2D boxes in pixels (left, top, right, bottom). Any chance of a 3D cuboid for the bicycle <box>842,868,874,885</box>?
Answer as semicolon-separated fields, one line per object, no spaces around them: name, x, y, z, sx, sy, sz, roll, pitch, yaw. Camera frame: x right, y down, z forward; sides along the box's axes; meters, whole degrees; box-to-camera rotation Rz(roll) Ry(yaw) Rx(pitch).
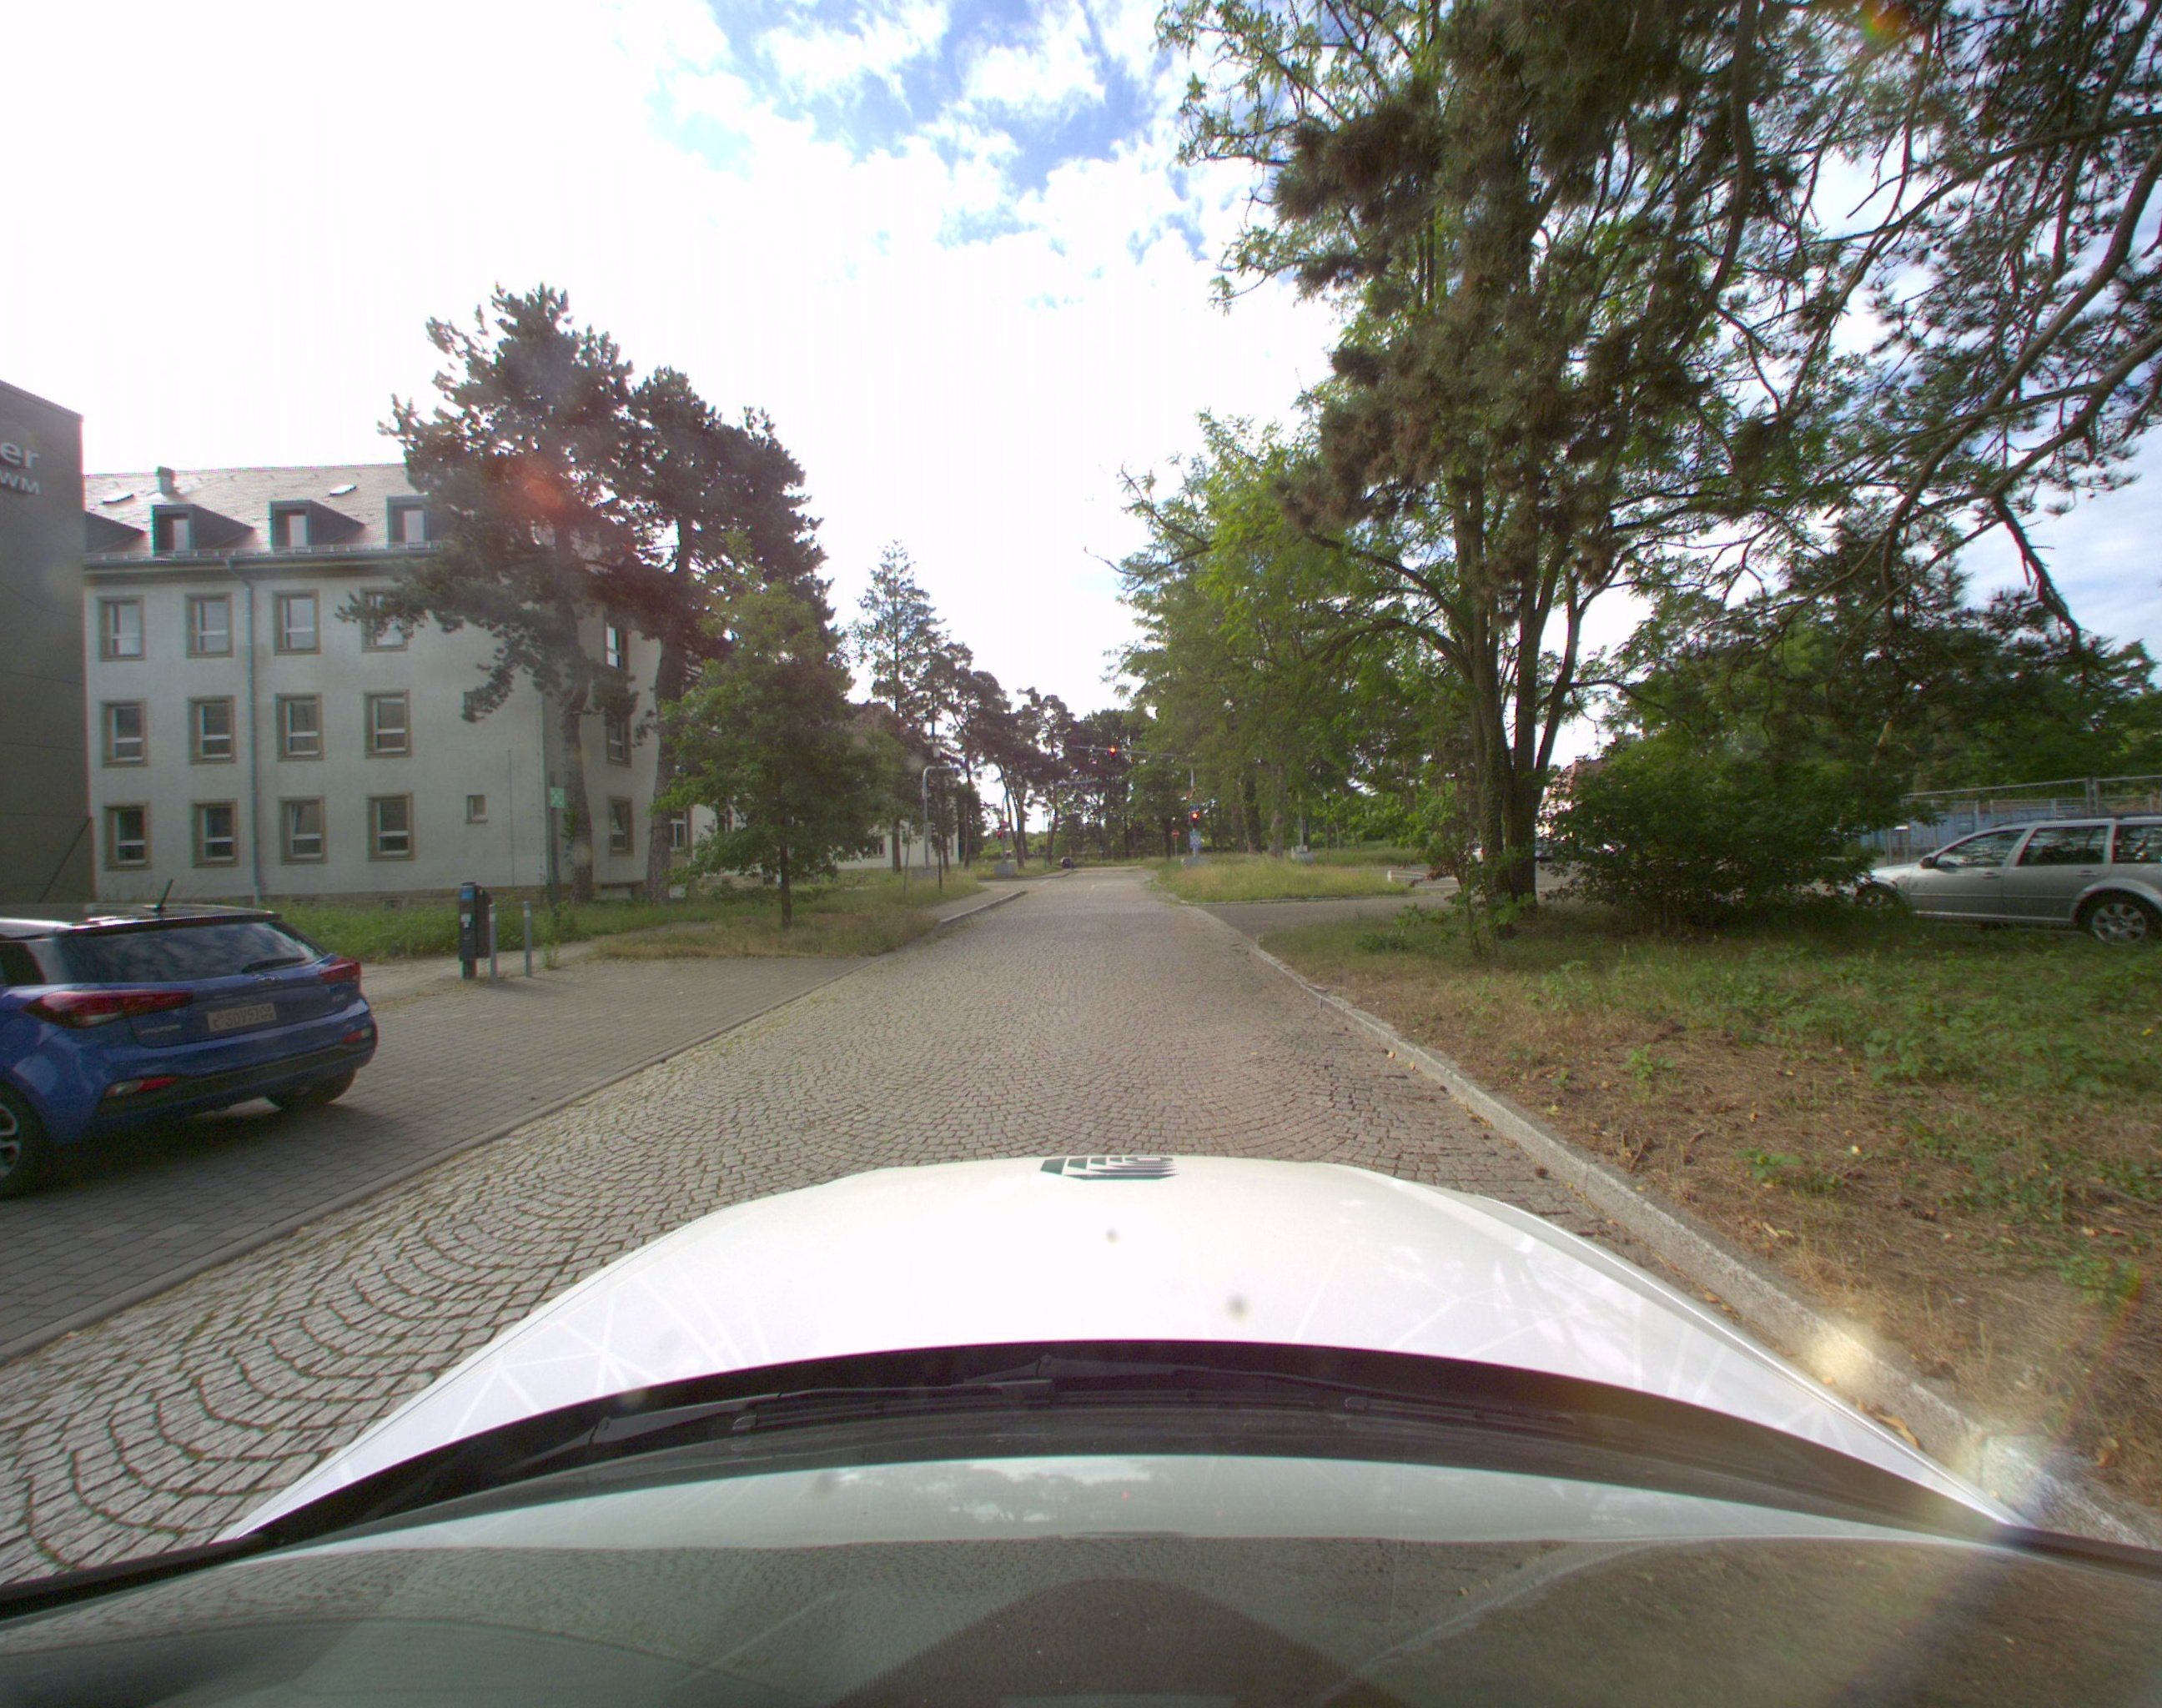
bicycle;-14.786;1.479;54.041;1.848;1.076;0.832;-2;0;3

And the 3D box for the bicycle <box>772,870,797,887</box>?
bicycle;-20.275;1.669;55.767;0.733;1.076;2.274;-2;0;2

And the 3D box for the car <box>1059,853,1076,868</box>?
car;-1.795;0.857;111.111;2.048;1.846;4.001;-2;0;1

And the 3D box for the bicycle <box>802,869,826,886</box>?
bicycle;-18.108;1.601;55.332;0.733;1.076;2.274;-2;0;2

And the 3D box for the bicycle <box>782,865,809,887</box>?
bicycle;-19.485;1.509;55.640;0.733;1.385;2.713;-2;0;2

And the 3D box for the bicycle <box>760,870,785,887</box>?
bicycle;-20.937;1.665;55.289;0.733;1.076;2.274;-2;0;2

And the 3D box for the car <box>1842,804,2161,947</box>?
car;11.607;0.228;9.542;1.640;1.427;4.073;1;0;1

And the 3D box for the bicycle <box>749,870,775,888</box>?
bicycle;-21.665;1.688;55.378;0.733;1.076;2.274;-2;0;2

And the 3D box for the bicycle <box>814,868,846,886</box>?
bicycle;-16.669;1.536;54.046;1.848;1.076;0.739;-2;0;3

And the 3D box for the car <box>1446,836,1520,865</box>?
car;23.082;-0.155;46.953;1.988;1.481;4.422;-2;-2;-2

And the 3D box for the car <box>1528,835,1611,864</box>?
car;28.267;-0.212;47.305;1.988;1.481;4.422;-2;-2;-2

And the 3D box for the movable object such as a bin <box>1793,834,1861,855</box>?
movable object such as a bin;31.475;-0.388;34.393;1.179;0.825;1.957;-2;0;6

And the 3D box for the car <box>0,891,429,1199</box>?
car;-6.750;1.035;5.194;3.748;1.478;1.854;-1;0;4

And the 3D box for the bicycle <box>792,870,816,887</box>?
bicycle;-18.750;1.630;55.266;0.733;1.076;2.274;-2;0;2
